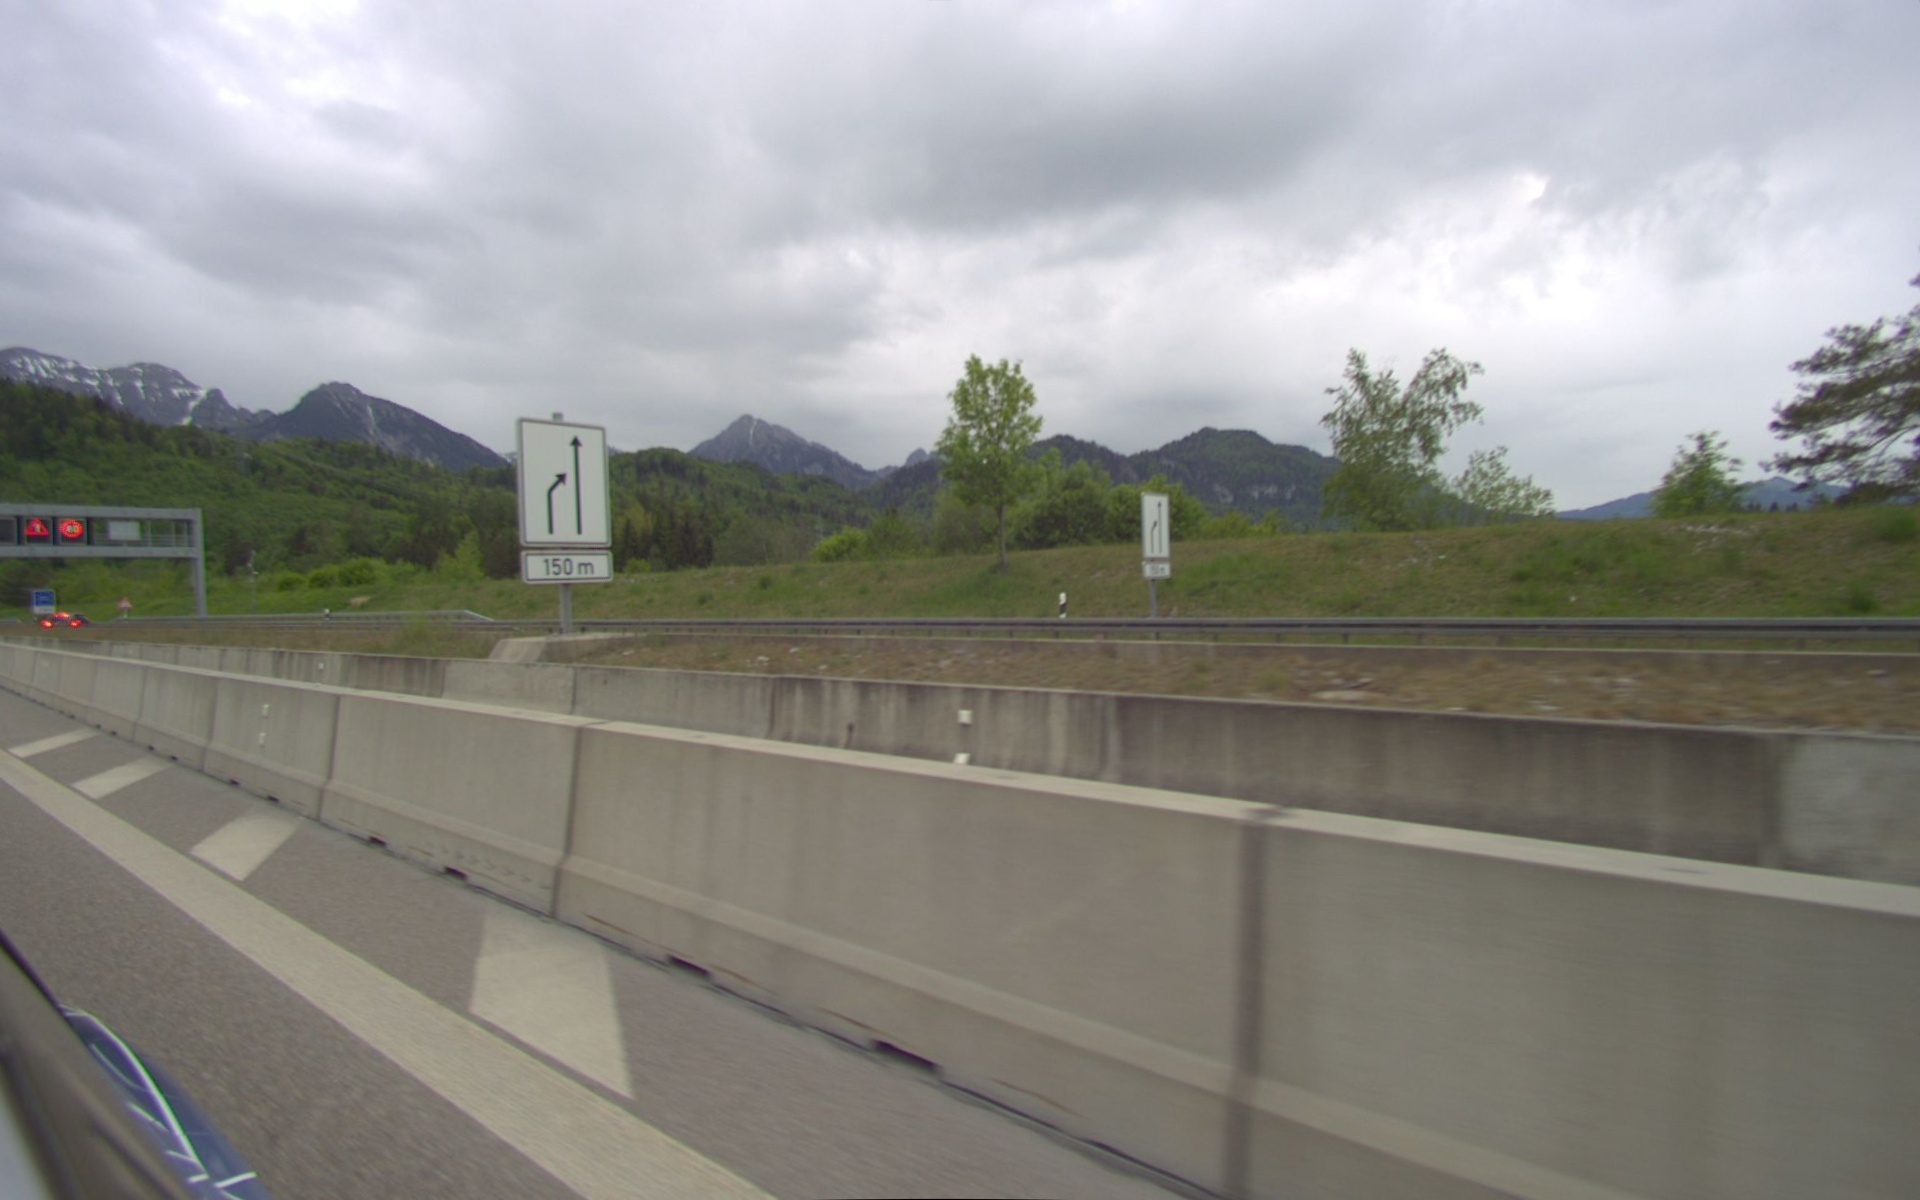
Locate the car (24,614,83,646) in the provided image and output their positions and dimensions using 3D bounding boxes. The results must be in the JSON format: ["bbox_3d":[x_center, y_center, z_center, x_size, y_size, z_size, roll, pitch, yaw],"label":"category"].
[{"bbox_3d":[-54.400,1.797,60.712,5.747,1.749,1.859,-1,0,40],"label":"car"}]
